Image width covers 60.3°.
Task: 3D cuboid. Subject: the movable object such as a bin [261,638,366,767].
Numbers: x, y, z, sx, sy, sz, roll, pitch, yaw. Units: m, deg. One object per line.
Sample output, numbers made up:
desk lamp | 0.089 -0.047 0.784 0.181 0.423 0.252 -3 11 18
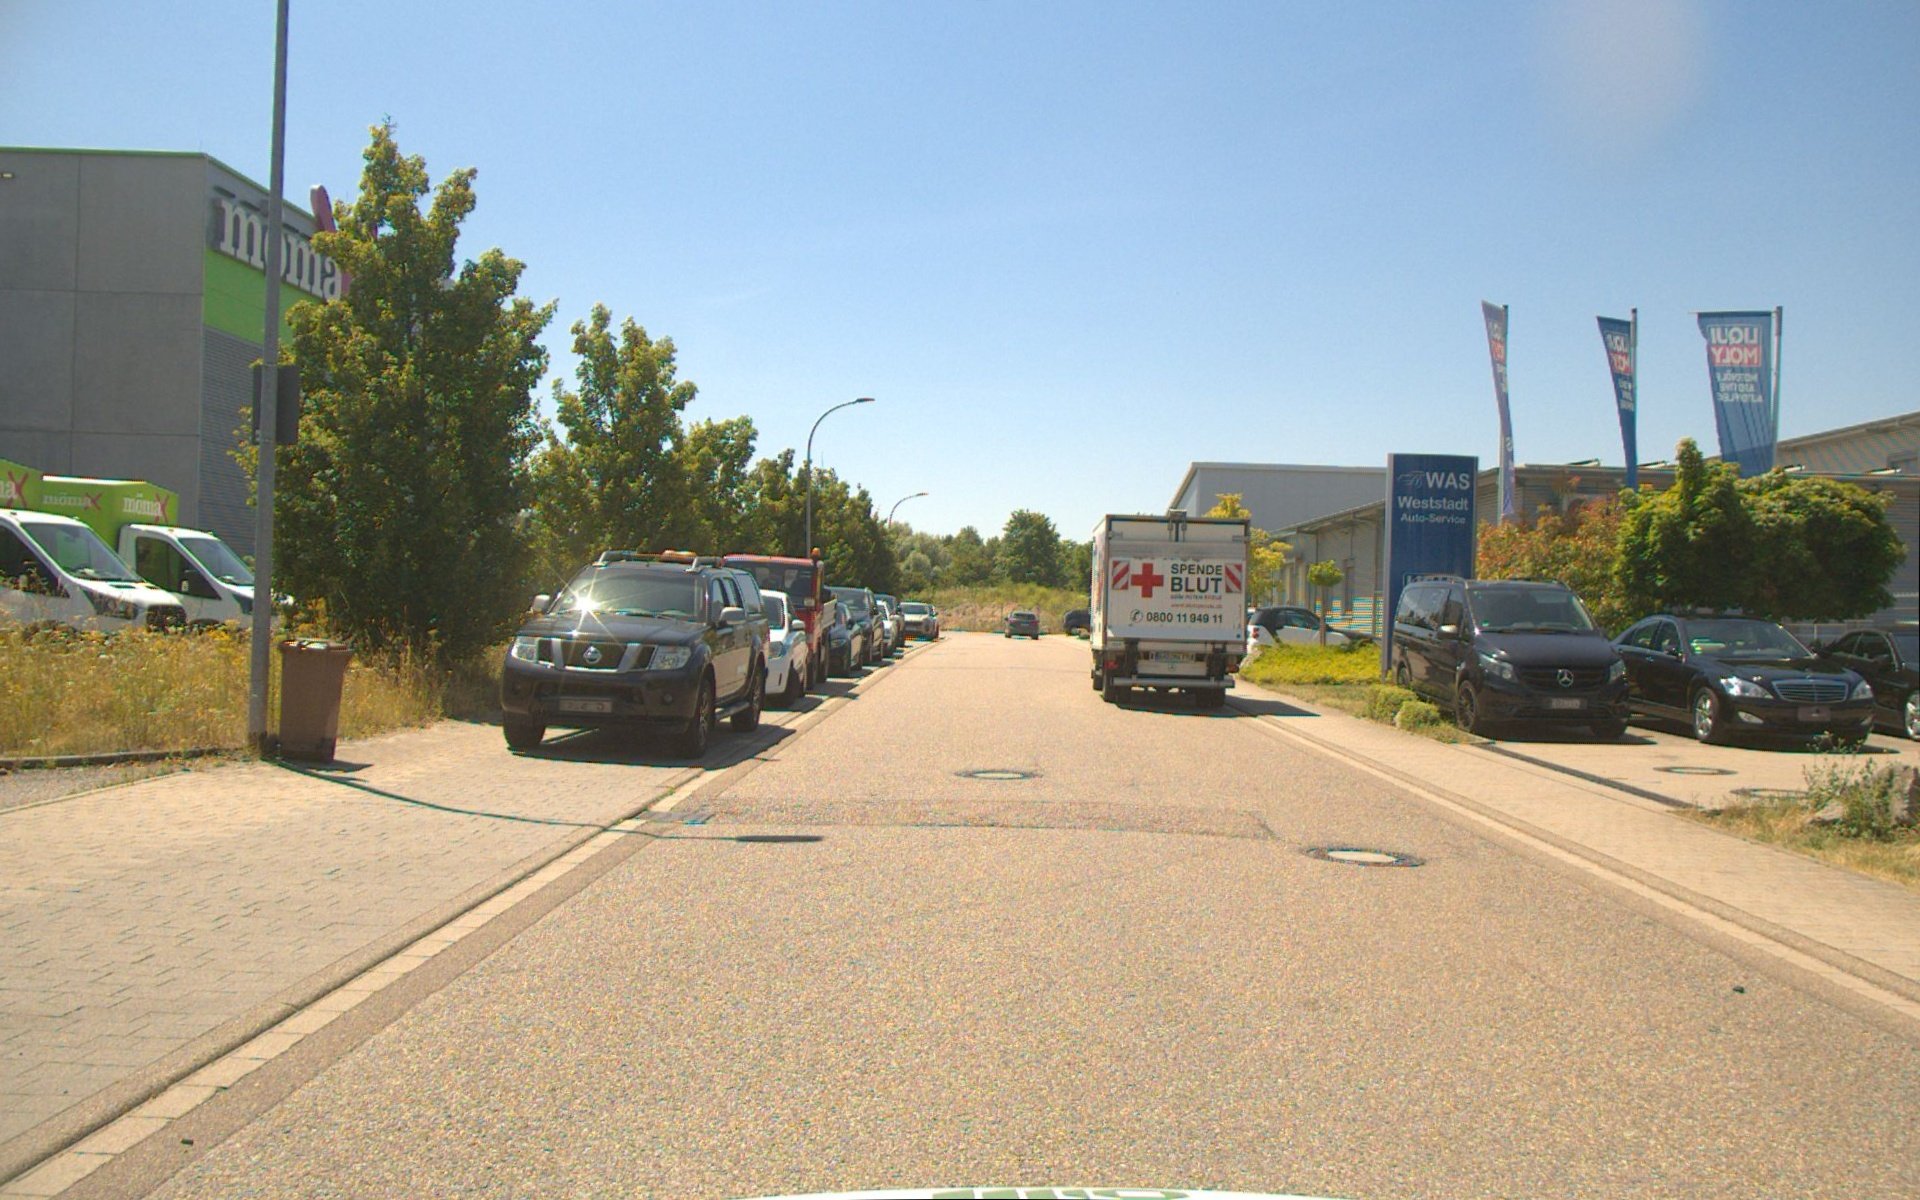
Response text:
movable object such as a bin | -5.141 0.801 13.177 0.536 0.966 0.682 2 0 -1

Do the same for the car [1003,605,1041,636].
car | 3.573 1.180 95.993 1.874 1.743 4.029 2 0 -2

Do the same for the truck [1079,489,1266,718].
truck | 3.383 0.052 27.857 2.406 3.261 6.884 3 0 2

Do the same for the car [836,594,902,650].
car | -2.749 0.638 50.955 1.814 1.545 5.165 3 0 -2

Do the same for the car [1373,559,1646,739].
car | 7.055 0.581 21.906 1.952 2.049 5.337 1 0 2

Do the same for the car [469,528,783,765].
car | -3.151 0.408 16.866 1.933 1.934 5.402 3 0 1

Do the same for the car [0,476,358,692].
car | -12.667 -0.257 25.302 5.852 2.977 2.521 2 0 0

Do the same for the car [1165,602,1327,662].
car | 7.823 0.872 45.561 4.190 1.568 1.913 1 0 2

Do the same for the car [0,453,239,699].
car | -12.711 -0.366 21.022 5.852 2.874 2.521 2 0 0

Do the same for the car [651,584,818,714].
car | -3.071 0.640 23.263 1.814 1.578 3.766 3 0 -1

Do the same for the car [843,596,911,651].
car | -2.832 0.792 57.566 1.950 1.743 5.007 3 0 1

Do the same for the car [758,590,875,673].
car | -2.838 0.605 33.567 1.813 1.468 4.754 3 0 1

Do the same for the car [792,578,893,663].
car | -2.726 0.473 39.437 1.813 1.789 4.988 3 0 2

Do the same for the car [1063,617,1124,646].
car | 8.952 2.102 111.062 3.928 1.684 1.858 -3 -1 0

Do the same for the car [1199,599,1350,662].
car | 8.137 0.779 42.991 3.615 1.568 1.913 1 0 2

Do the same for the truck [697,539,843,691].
truck | -3.110 0.241 28.024 1.813 2.261 4.646 3 0 0

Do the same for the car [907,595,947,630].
car | -1.668 0.624 85.076 1.873 1.684 4.755 1 0 1

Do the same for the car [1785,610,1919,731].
car | 12.608 0.889 21.513 1.765 1.394 4.116 1 1 2

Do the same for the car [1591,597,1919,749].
car | 9.620 0.793 20.463 1.952 1.563 4.592 1 1 2

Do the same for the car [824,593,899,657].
car | -2.608 0.649 44.854 1.814 1.545 4.903 3 0 -2

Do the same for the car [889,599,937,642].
car | -2.063 0.898 73.699 1.873 1.743 4.413 3 0 1

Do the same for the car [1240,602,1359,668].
car | 8.267 0.844 40.429 2.650 1.568 1.413 1 0 2
